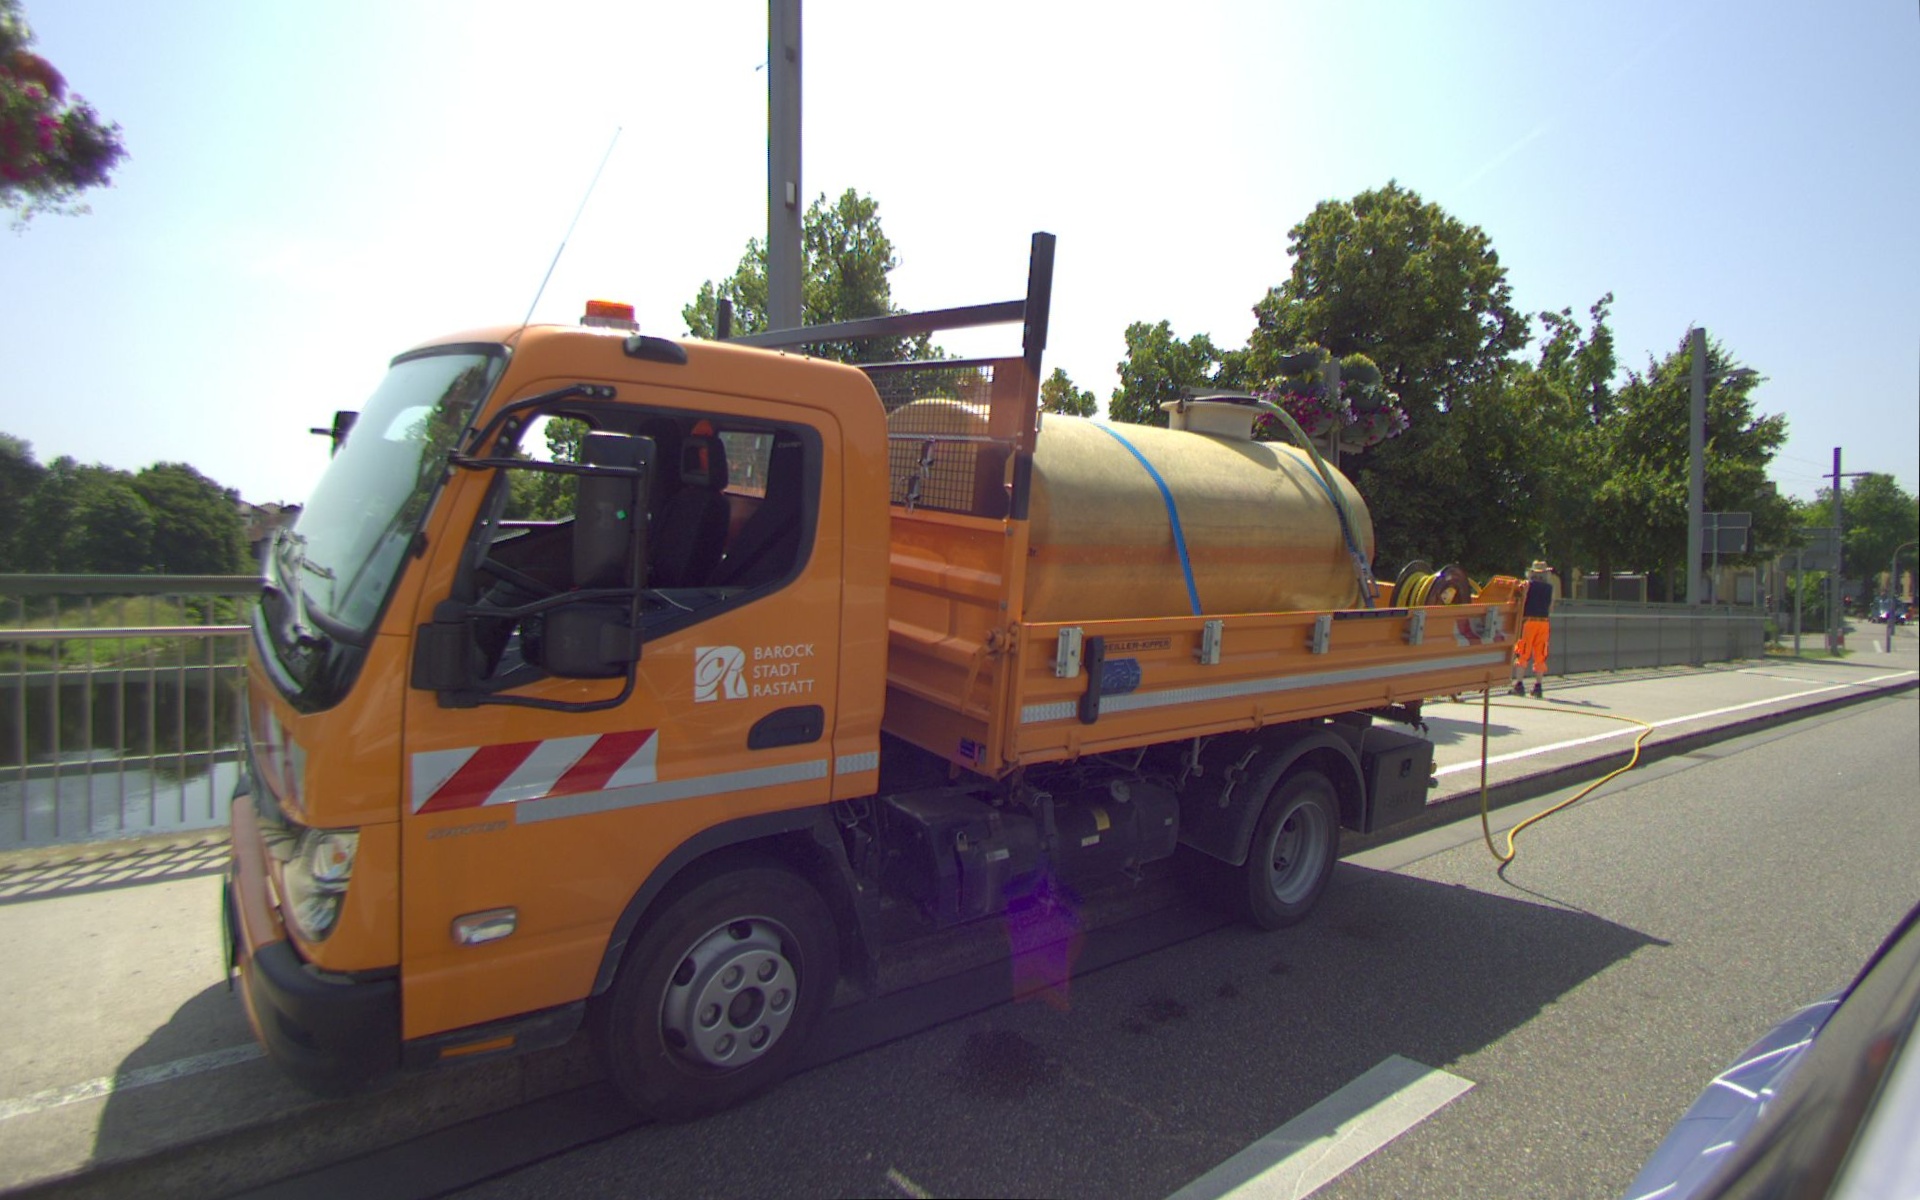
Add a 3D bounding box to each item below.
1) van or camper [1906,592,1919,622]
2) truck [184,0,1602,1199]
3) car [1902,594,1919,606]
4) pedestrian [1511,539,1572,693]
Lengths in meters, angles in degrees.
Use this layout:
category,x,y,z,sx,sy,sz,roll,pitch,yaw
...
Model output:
category,x,y,z,sx,sy,sz,roll,pitch,yaw
van or camper,88.714,0.630,93.212,2.157,2.613,5.758,0,2,42
truck,0.198,-0.017,4.477,5.718,2.722,2.614,0,5,-39
car,120.756,0.058,127.617,1.825,1.417,4.009,1,-1,28
pedestrian,7.707,0.196,13.416,0.547,1.984,0.662,1,2,45
